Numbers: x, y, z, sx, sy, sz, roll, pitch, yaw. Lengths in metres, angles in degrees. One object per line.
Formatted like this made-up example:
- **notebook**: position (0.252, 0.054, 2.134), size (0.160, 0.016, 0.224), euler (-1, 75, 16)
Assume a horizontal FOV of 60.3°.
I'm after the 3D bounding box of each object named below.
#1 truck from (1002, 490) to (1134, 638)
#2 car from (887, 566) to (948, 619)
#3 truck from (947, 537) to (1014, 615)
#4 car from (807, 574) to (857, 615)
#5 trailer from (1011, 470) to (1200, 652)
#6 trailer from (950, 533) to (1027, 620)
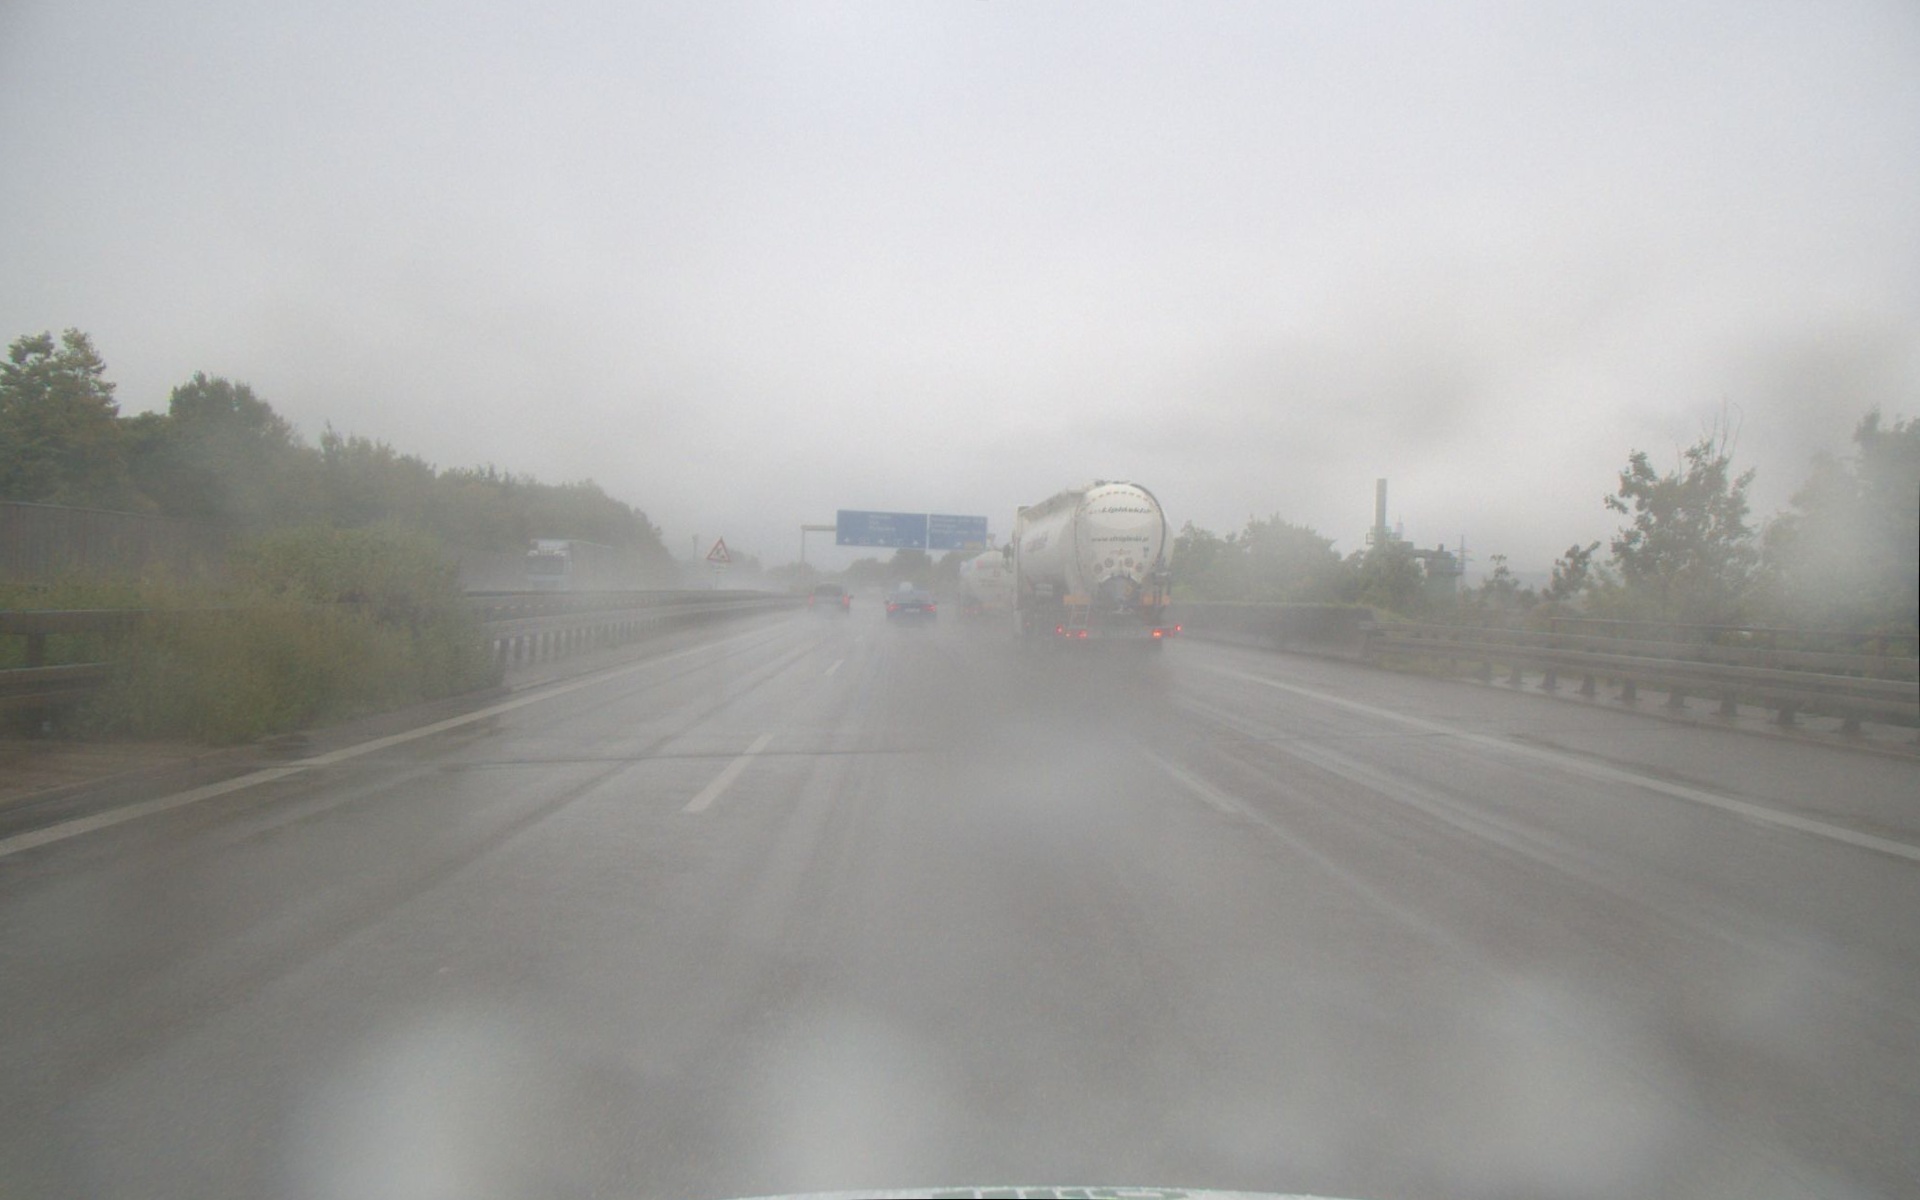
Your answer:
- **truck**: position (2.956, -0.987, 47.515), size (3.042, 3.873, 7.210), euler (1, 1, -2)
- **car**: position (-1.460, -0.289, 58.387), size (1.937, 1.787, 4.482), euler (1, 1, 1)
- **truck**: position (0.990, -1.200, 83.885), size (2.885, 3.748, 6.357), euler (1, 0, -4)
- **car**: position (-5.636, -0.264, 73.232), size (1.886, 1.771, 4.403), euler (1, 1, -1)
- **trailer**: position (3.213, -0.874, 40.294), size (3.124, 3.734, 11.662), euler (1, 1, -2)
- **trailer**: position (1.288, -1.128, 79.610), size (2.945, 3.915, 8.617), euler (0, 1, -4)
